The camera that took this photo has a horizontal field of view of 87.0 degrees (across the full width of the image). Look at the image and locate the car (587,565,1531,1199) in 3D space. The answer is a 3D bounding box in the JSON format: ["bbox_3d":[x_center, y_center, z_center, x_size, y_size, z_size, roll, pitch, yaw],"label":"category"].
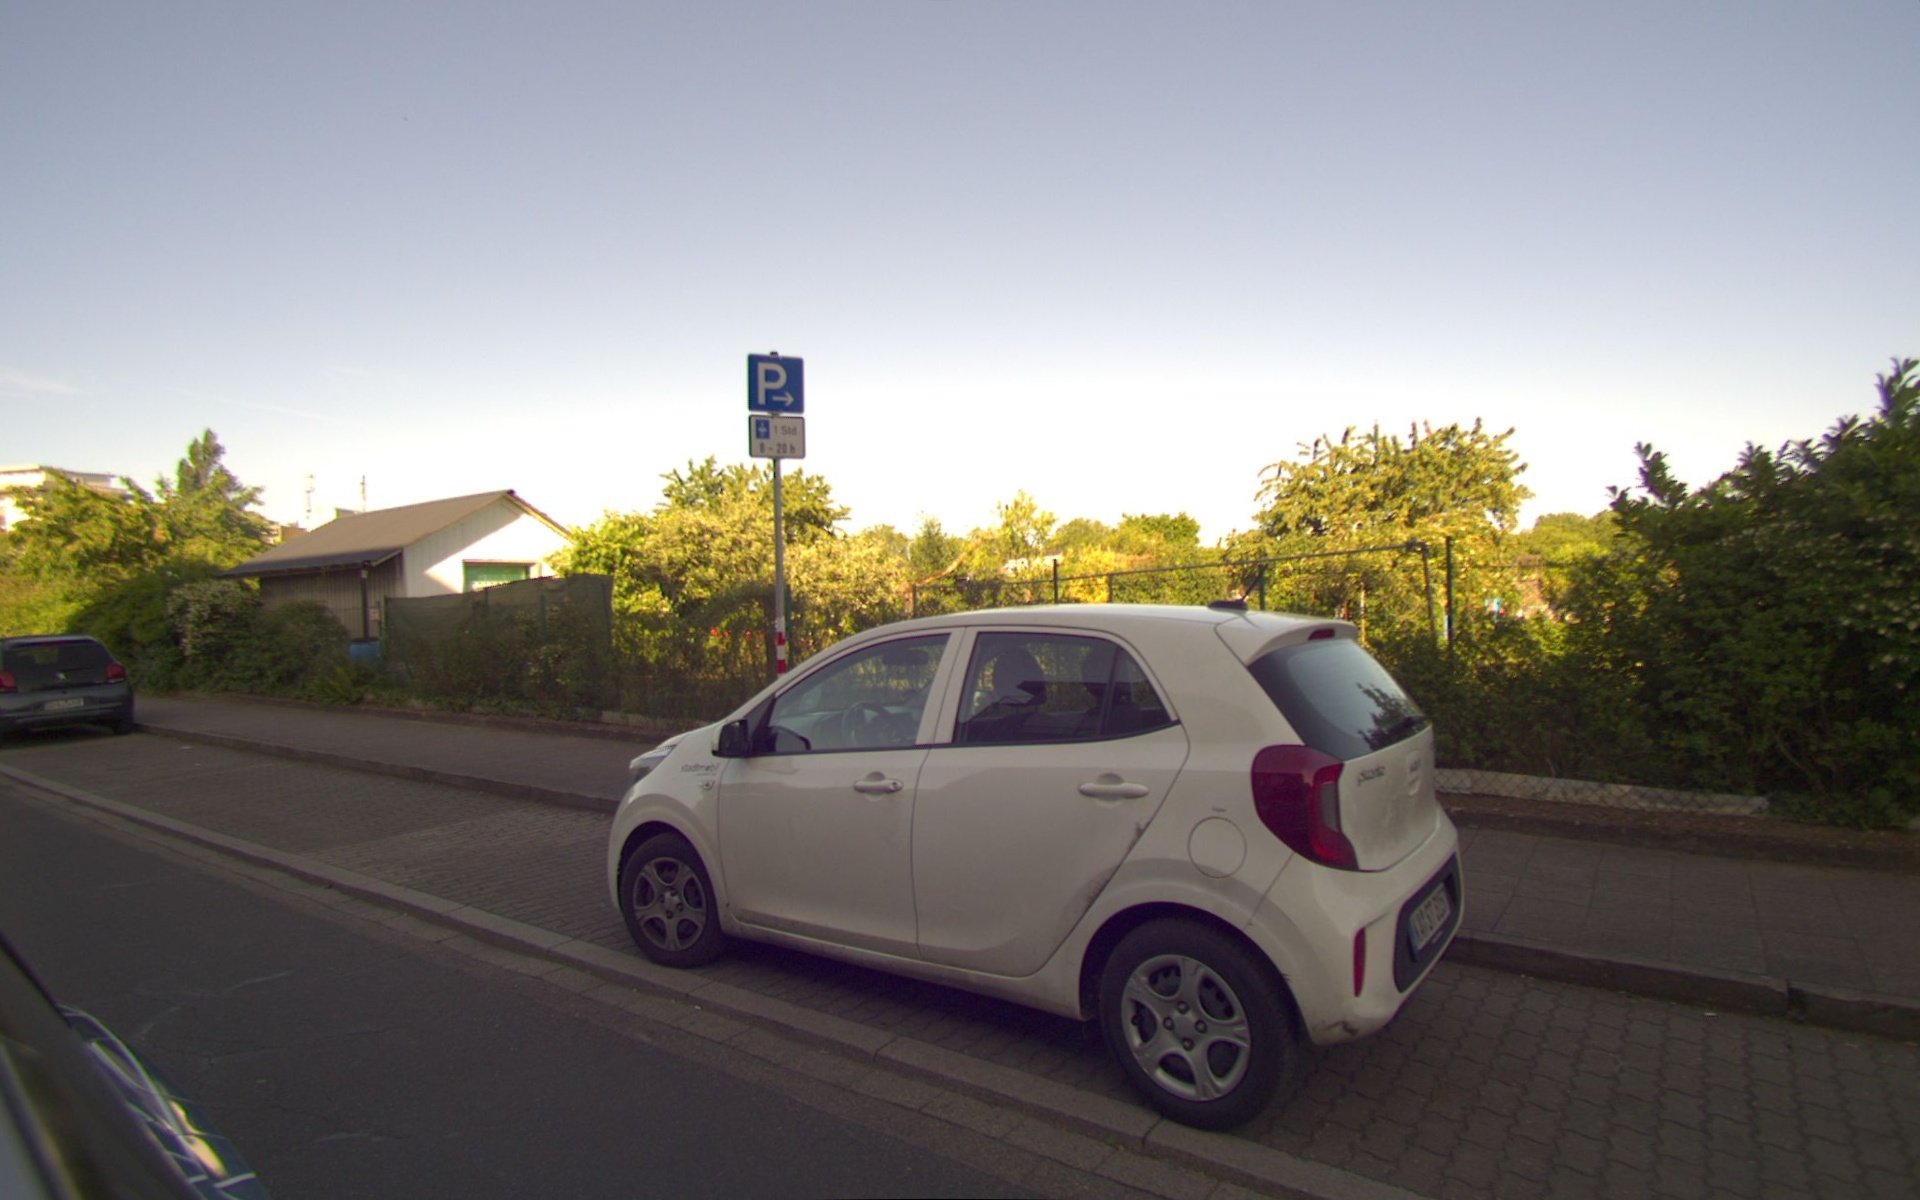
[{"bbox_3d":[0.200,0.709,3.993,3.395,1.499,1.514,-2,-1,37],"label":"car"}]

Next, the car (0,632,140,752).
[{"bbox_3d":[-13.748,1.270,14.745,4.508,1.434,1.681,-2,1,37],"label":"car"}]
